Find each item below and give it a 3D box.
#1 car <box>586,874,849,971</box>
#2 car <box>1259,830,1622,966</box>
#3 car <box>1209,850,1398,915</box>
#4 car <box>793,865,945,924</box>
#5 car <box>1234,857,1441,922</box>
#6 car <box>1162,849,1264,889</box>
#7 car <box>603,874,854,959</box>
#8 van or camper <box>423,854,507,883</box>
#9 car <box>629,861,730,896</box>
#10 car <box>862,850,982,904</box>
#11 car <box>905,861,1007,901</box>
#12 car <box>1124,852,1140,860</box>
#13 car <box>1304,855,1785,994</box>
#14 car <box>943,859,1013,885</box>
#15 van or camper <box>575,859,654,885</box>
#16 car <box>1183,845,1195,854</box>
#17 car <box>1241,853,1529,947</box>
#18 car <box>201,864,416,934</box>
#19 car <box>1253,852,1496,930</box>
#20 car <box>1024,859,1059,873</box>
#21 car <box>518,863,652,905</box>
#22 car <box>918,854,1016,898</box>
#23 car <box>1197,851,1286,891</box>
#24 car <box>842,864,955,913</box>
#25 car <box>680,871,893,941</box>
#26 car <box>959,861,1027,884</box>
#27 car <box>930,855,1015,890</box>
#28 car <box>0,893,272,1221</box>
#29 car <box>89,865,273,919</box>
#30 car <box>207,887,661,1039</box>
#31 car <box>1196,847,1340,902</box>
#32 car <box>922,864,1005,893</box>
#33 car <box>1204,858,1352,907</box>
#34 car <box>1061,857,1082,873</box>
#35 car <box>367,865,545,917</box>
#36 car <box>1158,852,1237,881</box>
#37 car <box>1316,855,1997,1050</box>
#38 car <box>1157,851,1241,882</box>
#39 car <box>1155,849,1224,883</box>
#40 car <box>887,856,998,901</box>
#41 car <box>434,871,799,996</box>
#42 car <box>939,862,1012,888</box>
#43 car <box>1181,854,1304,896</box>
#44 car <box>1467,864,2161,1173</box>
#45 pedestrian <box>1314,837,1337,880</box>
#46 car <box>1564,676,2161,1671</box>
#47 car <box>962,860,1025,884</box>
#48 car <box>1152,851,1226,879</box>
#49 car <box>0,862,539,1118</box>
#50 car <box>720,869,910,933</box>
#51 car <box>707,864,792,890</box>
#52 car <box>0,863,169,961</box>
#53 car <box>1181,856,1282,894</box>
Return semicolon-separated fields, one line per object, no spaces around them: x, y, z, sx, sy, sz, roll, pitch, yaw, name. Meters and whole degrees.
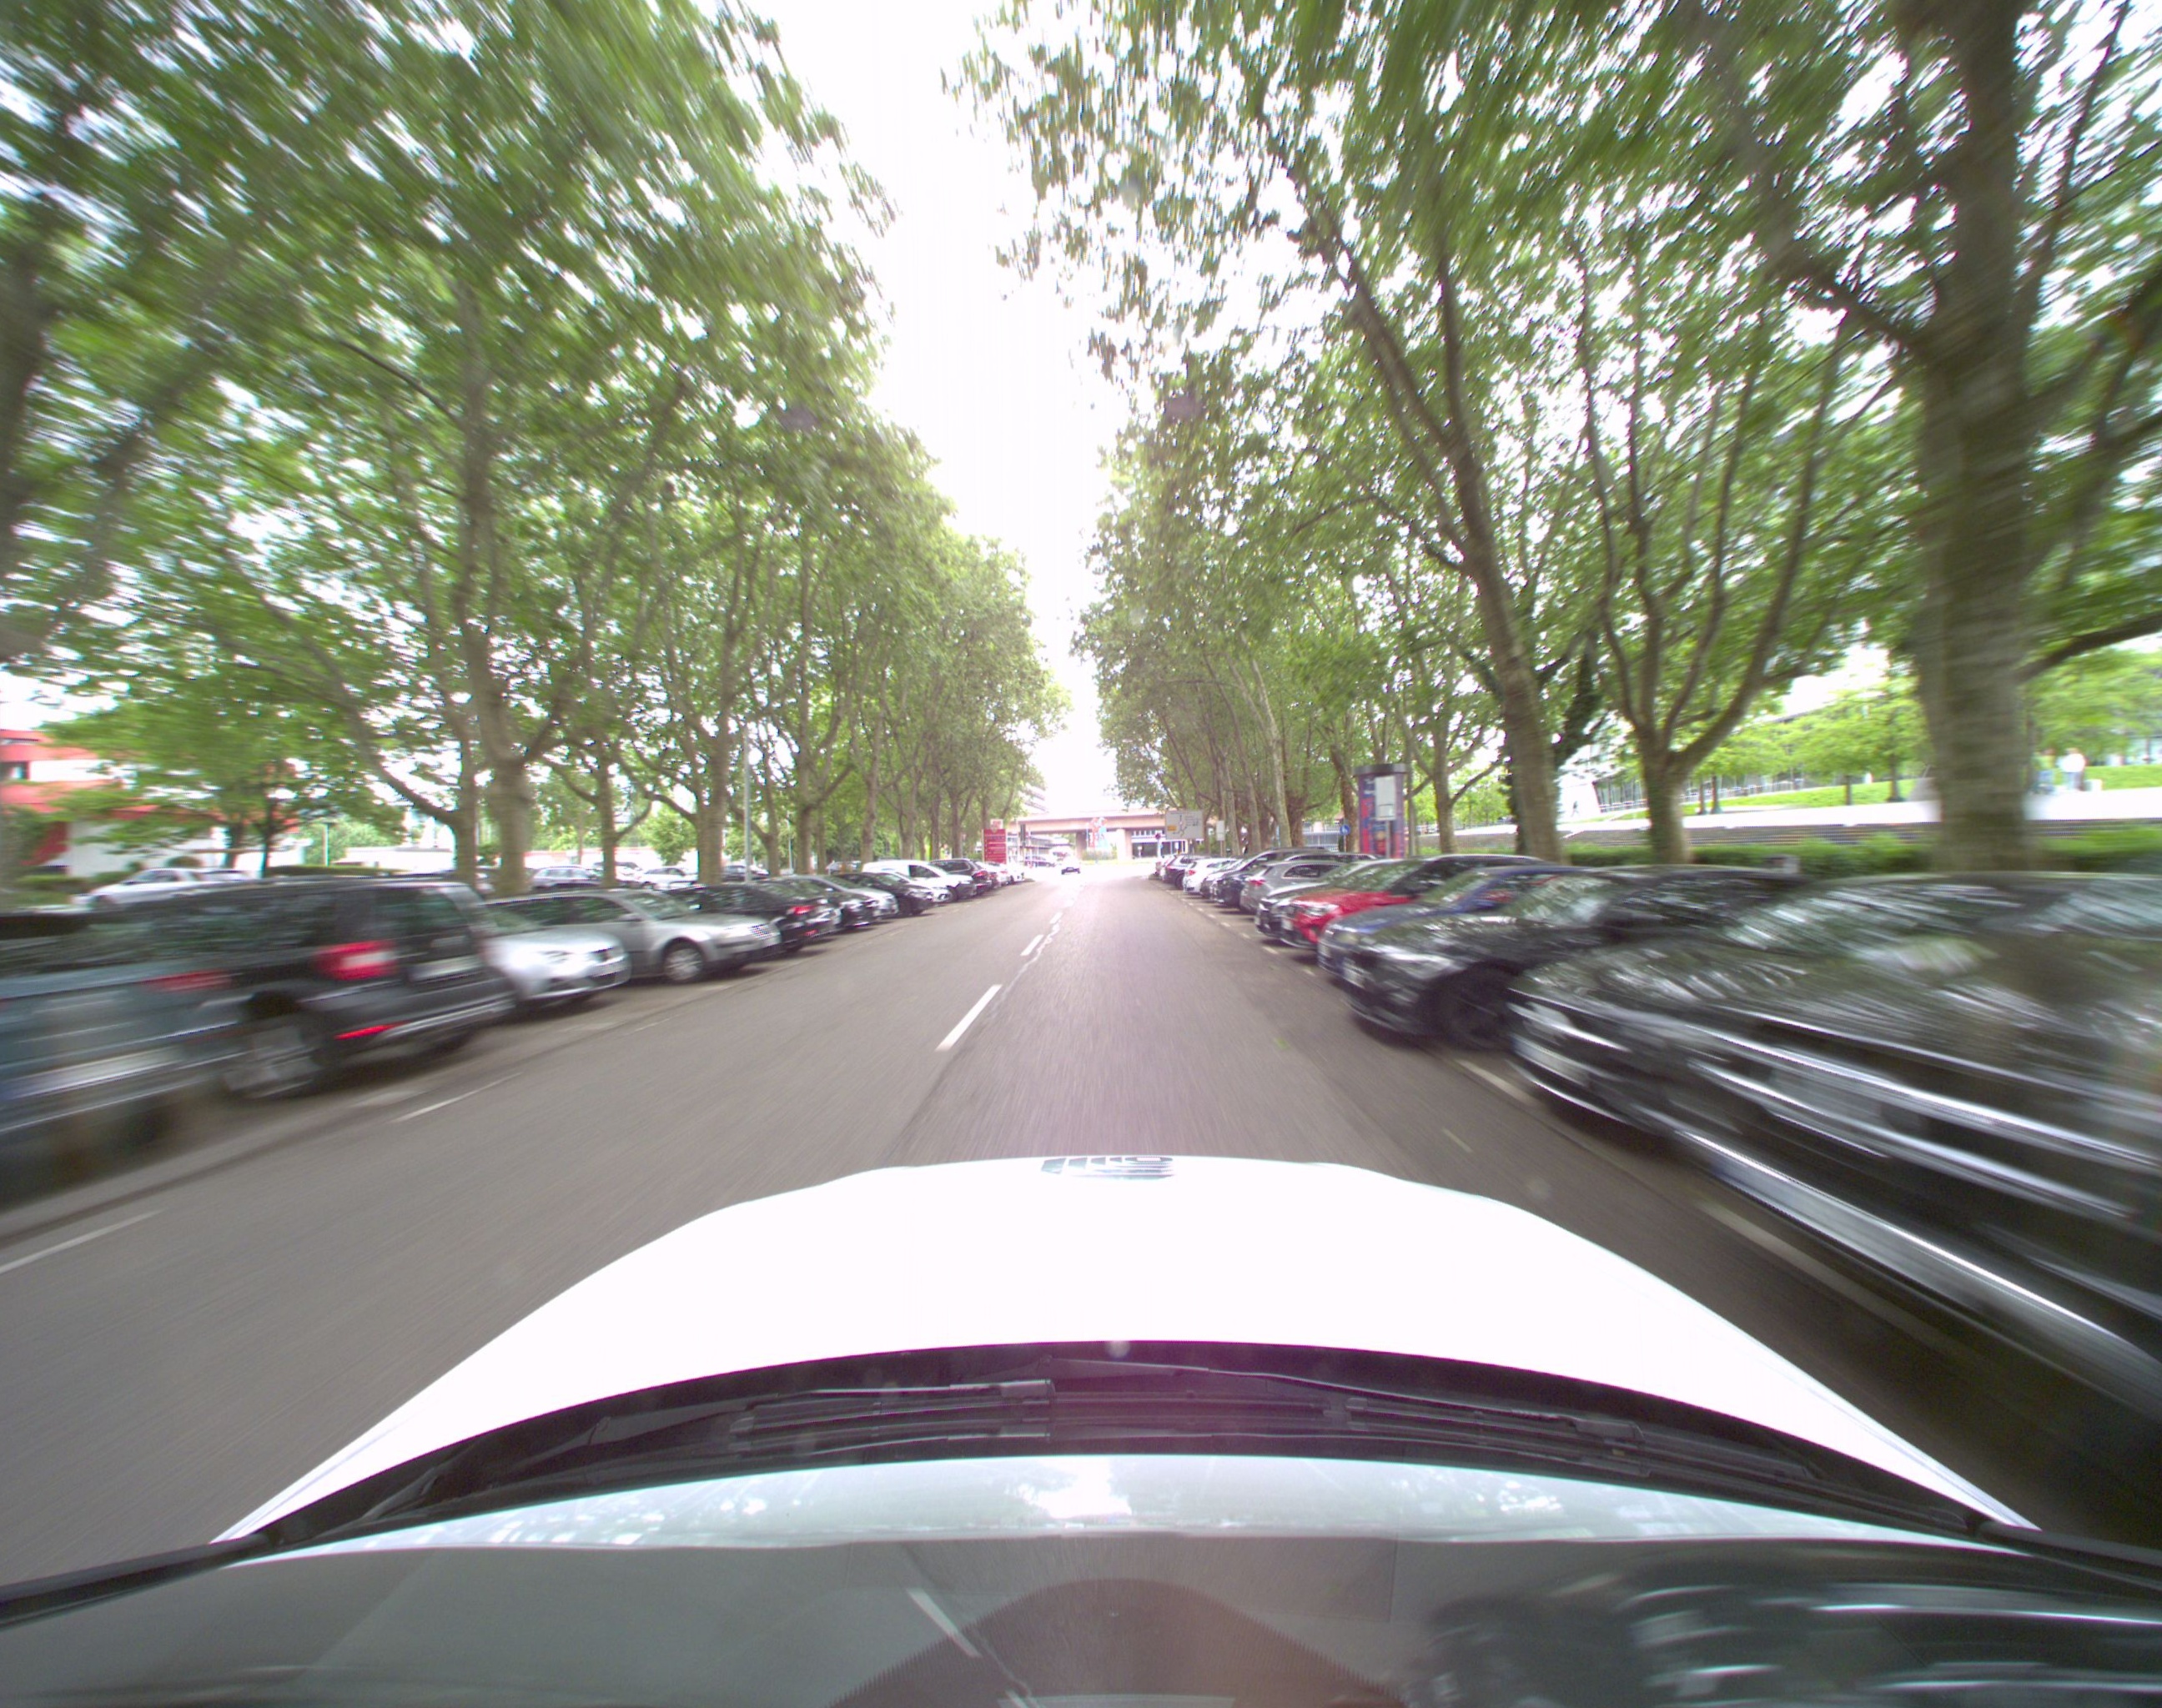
-6.459;1.185;14.773;3.918;1.398;1.703;-3;0;0;car
5.102;0.568;11.979;4.487;1.796;2.044;0;0;-5;car
5.785;0.715;21.634;4.571;1.639;1.874;0;0;3;car
-6.304;1.195;24.508;3.960;1.421;1.758;-4;0;5;car
5.924;0.802;19.248;4.329;1.413;1.927;0;0;2;car
5.909;0.655;36.771;4.332;1.761;1.925;0;0;0;car
-7.384;1.290;17.403;4.448;1.366;1.859;-4;0;0;car
-44.693;1.055;59.243;1.986;2.014;5.304;-1;-1;1;van or camper
-21.330;1.286;43.421;4.305;1.709;2.132;-1;-1;1;car
-6.211;0.896;32.231;4.306;1.810;1.866;-3;0;-2;car
-5.653;1.225;37.176;4.111;1.452;2.015;-4;0;3;car
12.812;0.504;204.888;1.975;1.772;4.024;-2;-1;43;car
5.025;0.735;9.360;4.476;1.420;1.830;0;0;3;car
-6.264;1.076;49.866;3.979;1.493;1.833;-1;-1;1;car
-32.858;1.277;57.435;4.305;1.709;2.132;-1;-1;1;van or camper
24.723;-1.038;186.718;1.977;2.014;4.019;-1;-1;19;car
5.169;0.739;14.240;4.338;1.502;1.923;0;0;-4;car
-22.353;1.264;23.707;4.305;1.861;2.028;-1;-1;1;car
5.882;0.717;16.727;4.331;1.502;1.926;0;0;1;car
-5.958;1.842;123.526;4.729;2.014;2.294;-1;-1;18;car
-21.785;1.296;35.919;4.502;1.762;2.297;-1;-1;1;car
-5.441;1.026;39.189;4.301;1.810;1.868;-3;0;2;car
6.746;0.689;34.439;3.422;1.492;1.680;-3;0;0;car
-6.529;1.211;29.535;3.781;1.472;1.759;-3;0;-9;car
-7.104;1.246;19.952;4.444;1.347;1.903;-3;0;3;car
-5.619;1.194;52.383;3.974;1.385;1.914;-1;-1;5;car
-5.911;0.995;44.715;4.250;1.548;1.908;-4;-1;-1;car
-7.187;1.116;4.347;3.918;1.516;1.728;-3;0;0;car
-33.052;1.385;30.006;4.554;1.855;2.301;-1;-1;7;car
-7.550;1.231;9.822;3.918;1.364;1.827;-3;0;0;car
6.042;0.645;26.685;4.332;1.745;1.837;0;0;0;car
-6.036;1.229;42.091;3.973;1.404;1.885;-1;-1;0;car
5.800;0.836;24.312;4.025;1.380;1.745;0;0;2;car
-0.891;1.040;77.530;1.836;1.510;4.015;-1;-1;1;car
-22.113;1.274;28.968;4.536;1.725;2.297;-1;-1;1;car
6.602;0.712;46.637;4.329;1.605;1.927;0;0;2;car
4.510;0.731;7.006;4.477;1.428;1.933;0;0;2;car
6.372;0.676;44.293;4.329;1.633;1.927;0;0;2;car
6.497;0.713;49.103;3.971;2.013;2.001;0;0;2;car
-5.841;1.034;34.739;4.301;1.795;2.037;-1;-1;2;car
-6.843;1.140;12.334;4.448;1.482;1.703;-3;0;0;car
-6.116;1.198;47.462;3.972;1.405;1.862;-1;-1;1;car
5.736;0.740;29.219;4.132;1.458;1.728;0;0;2;car
4.570;0.762;4.602;3.966;1.390;1.741;0;0;3;car
11.440;0.205;38.121;0.786;2.014;0.596;-1;-1;-15;pedestrian
4.218;0.563;2.330;4.479;1.796;2.048;0;0;1;car
-5.862;1.192;54.803;3.977;1.540;1.806;-1;-1;3;car
6.477;0.663;49.263;4.329;1.633;1.927;0;0;2;car
-7.164;1.040;6.857;3.918;1.708;1.752;-3;0;0;car
-7.128;1.243;22.147;4.447;1.369;1.880;-3;0;1;car
-20.573;1.401;50.689;4.305;1.548;2.204;-1;-1;1;car
-22.079;1.166;16.362;4.926;1.797;2.182;-2;0;-1;car
5.806;0.797;31.760;3.629;1.427;1.664;0;0;-2;car
